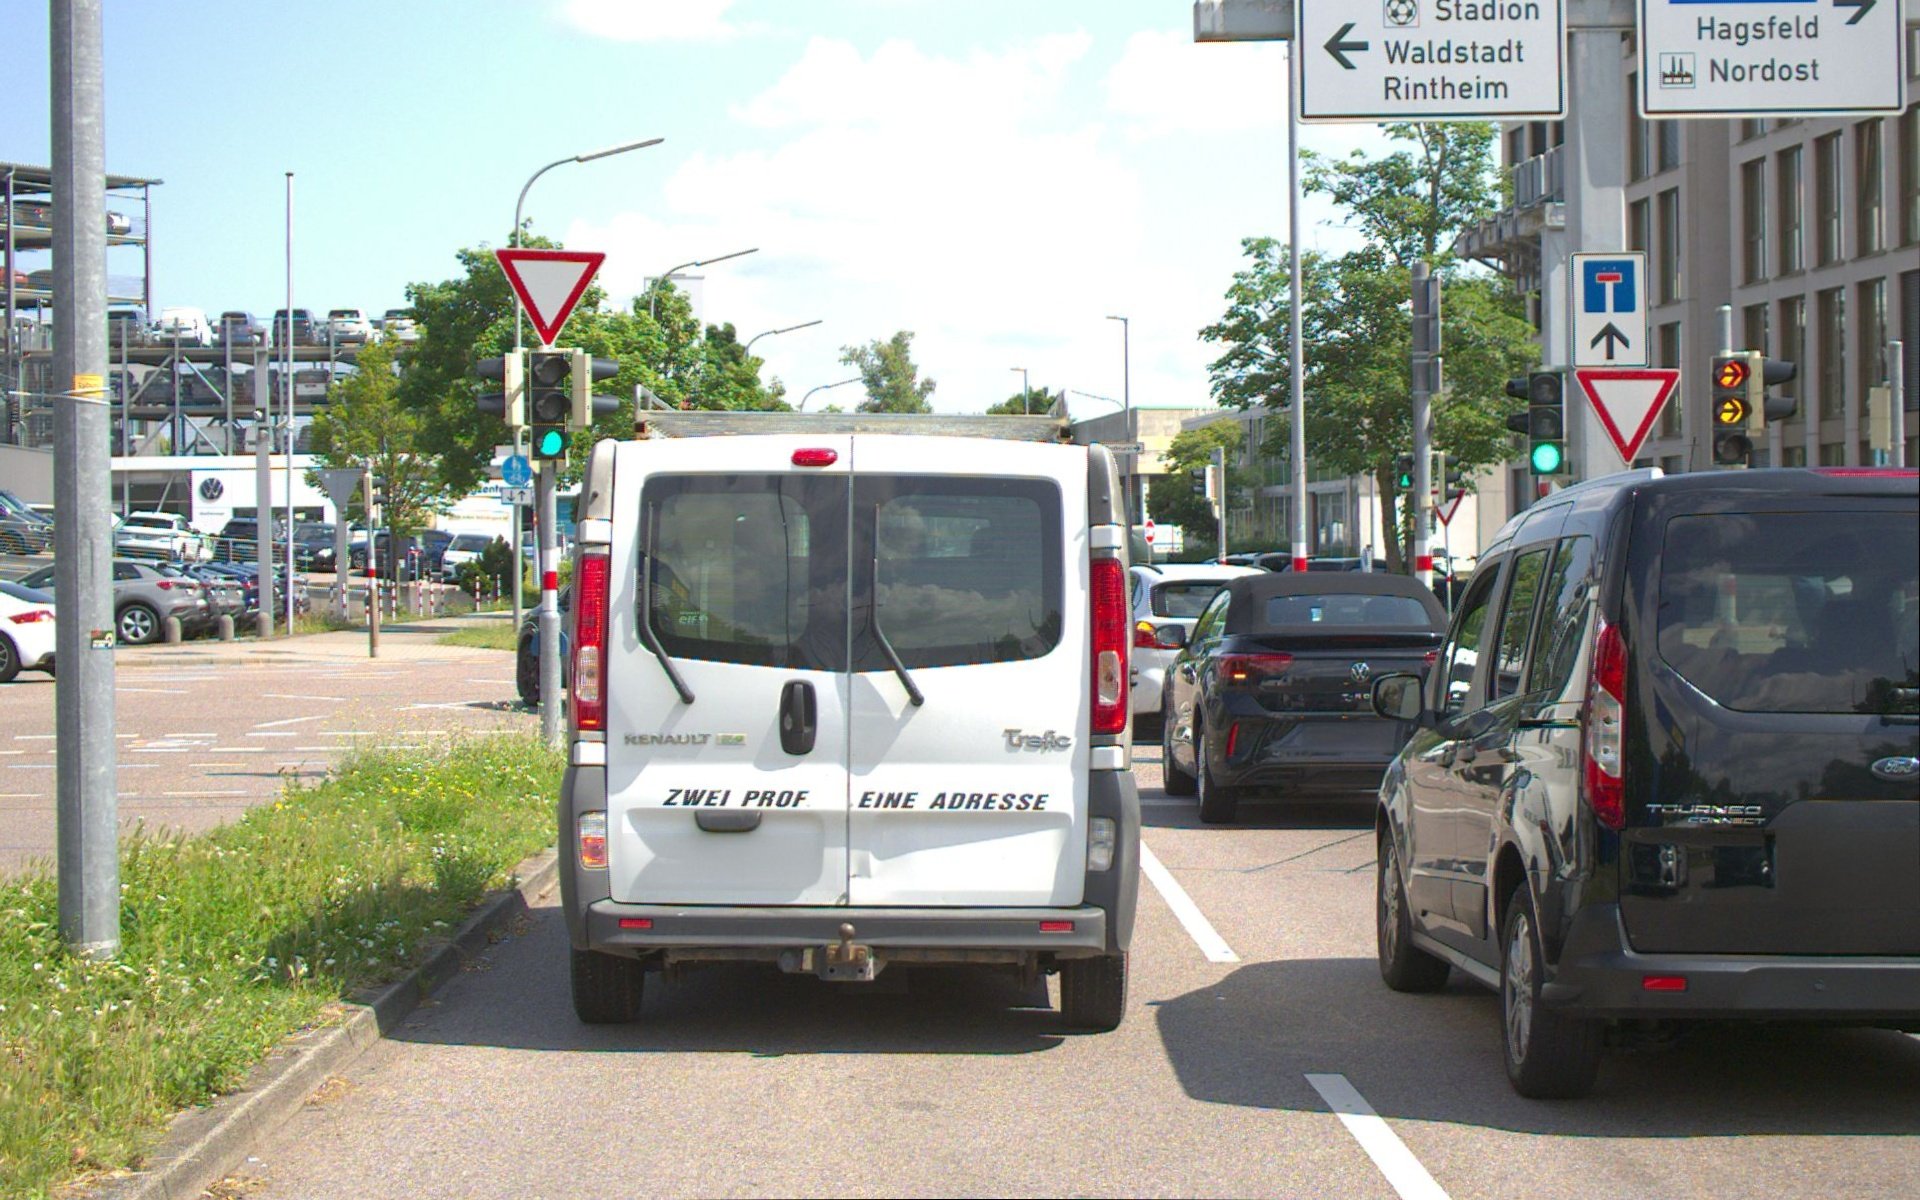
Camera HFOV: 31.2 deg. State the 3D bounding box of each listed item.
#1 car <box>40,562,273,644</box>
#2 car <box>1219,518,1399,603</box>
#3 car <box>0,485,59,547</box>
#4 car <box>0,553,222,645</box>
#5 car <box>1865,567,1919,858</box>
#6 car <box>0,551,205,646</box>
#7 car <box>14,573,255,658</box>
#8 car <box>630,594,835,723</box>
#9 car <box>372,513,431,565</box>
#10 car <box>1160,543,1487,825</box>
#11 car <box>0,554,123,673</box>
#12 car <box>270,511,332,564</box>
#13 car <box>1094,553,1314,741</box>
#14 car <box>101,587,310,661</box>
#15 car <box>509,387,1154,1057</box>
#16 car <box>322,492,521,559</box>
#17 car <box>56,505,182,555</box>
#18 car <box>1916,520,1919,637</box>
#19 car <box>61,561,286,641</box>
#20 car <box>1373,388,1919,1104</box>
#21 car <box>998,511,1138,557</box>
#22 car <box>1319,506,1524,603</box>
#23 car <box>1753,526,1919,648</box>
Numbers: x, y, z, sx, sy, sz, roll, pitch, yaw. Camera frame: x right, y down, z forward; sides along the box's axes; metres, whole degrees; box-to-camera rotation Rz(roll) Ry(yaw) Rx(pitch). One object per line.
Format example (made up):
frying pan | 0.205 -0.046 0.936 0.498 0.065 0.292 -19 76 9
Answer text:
car | -17.155 0.055 73.568 4.574 1.672 1.907 0 1 -3
car | 8.538 -0.952 84.220 3.986 2.007 2.000 1 0 -8
car | -29.032 -2.497 101.554 4.440 1.795 1.765 1 0 -6
car | -16.455 -0.017 65.101 4.574 1.672 1.907 1 0 -3
car | 6.422 0.731 18.787 1.859 1.650 4.219 5 1 2
car | -16.252 -0.029 62.700 4.574 1.672 1.907 1 0 -3
car | -17.047 0.313 71.164 4.574 1.672 1.907 1 0 -3
car | -2.241 0.553 34.807 1.774 1.197 4.000 0 0 0
car | -17.269 -1.879 106.461 1.560 1.547 3.603 1 0 -5
car | 2.224 0.471 21.935 1.774 1.624 4.000 0 0 2
car | -12.802 0.150 43.449 3.992 1.437 1.858 1 0 24
car | -20.491 -1.938 106.971 1.560 1.547 3.603 1 0 -5
car | 2.196 0.390 31.823 1.774 1.624 4.000 0 0 0
car | -17.836 0.554 81.435 4.574 1.672 1.907 1 0 -3
car | -0.421 0.358 12.834 1.973 2.053 4.565 0 0 -1
car | -17.819 -2.454 113.941 6.386 2.095 1.765 1 0 -5
car | -27.859 -2.307 114.036 3.986 1.547 1.765 1 0 -12
car | 15.456 -0.265 46.996 4.197 1.621 1.828 1 0 -8
car | -17.352 0.009 76.001 4.574 1.672 1.907 0 1 -3
car | 2.475 0.373 11.126 1.823 1.898 4.000 0 0 0
car | 5.035 -3.077 160.881 6.340 2.007 2.573 1 0 -2
car | 9.976 -0.972 74.480 3.986 2.007 2.000 1 0 -8
car | 15.148 -0.172 53.694 4.975 1.831 2.000 1 0 -8
